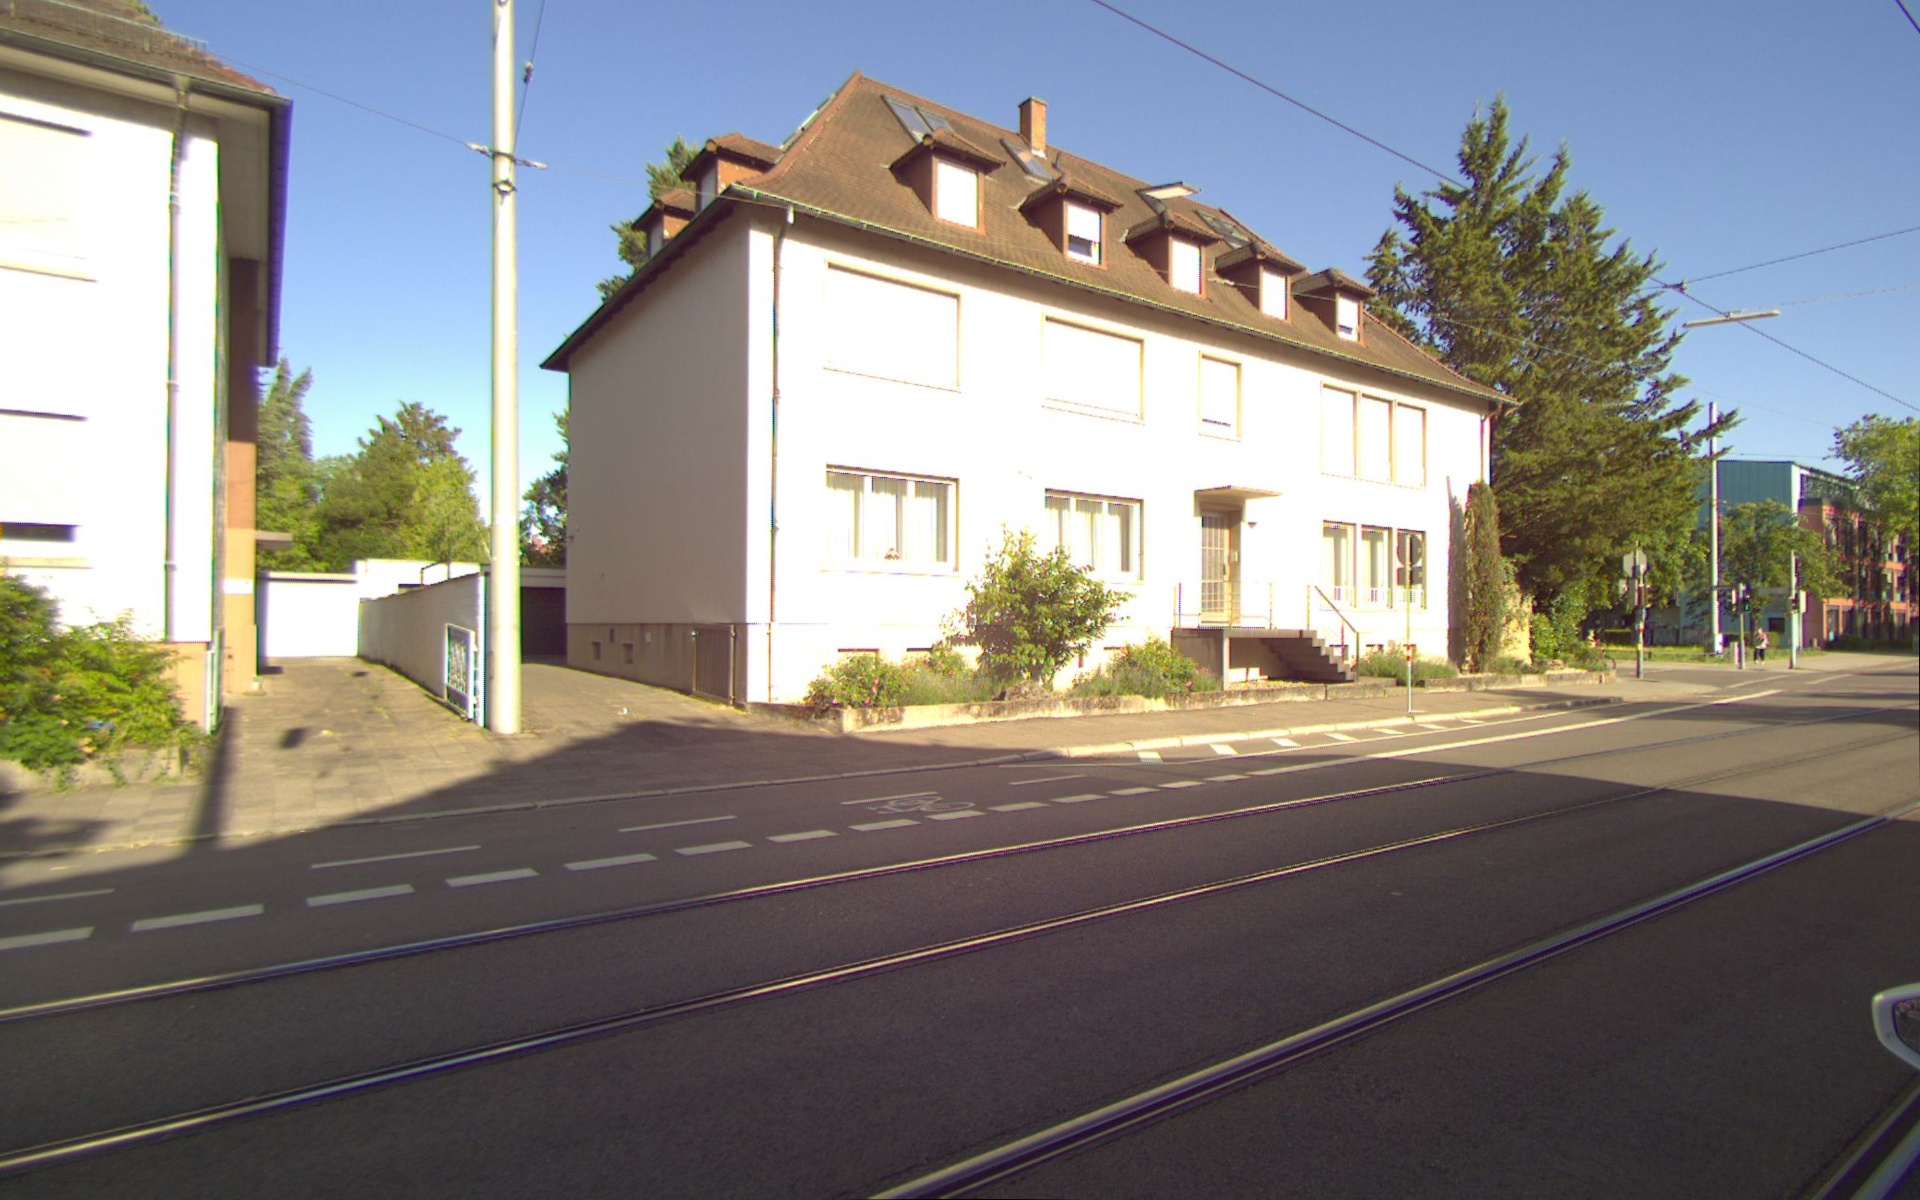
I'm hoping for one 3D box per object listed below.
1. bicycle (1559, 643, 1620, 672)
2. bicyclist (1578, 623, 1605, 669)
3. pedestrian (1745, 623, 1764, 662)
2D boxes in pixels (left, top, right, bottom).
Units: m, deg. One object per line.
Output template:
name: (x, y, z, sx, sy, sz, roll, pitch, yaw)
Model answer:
bicycle: (23.670, 2.144, 37.809, 0.531, 1.028, 1.938, 1, -2, -27)
bicyclist: (23.714, 1.726, 37.741, 0.530, 1.707, 0.677, 1, -2, -27)
pedestrian: (35.916, 1.926, 45.427, 0.601, 1.712, 0.731, 2, 2, 36)
